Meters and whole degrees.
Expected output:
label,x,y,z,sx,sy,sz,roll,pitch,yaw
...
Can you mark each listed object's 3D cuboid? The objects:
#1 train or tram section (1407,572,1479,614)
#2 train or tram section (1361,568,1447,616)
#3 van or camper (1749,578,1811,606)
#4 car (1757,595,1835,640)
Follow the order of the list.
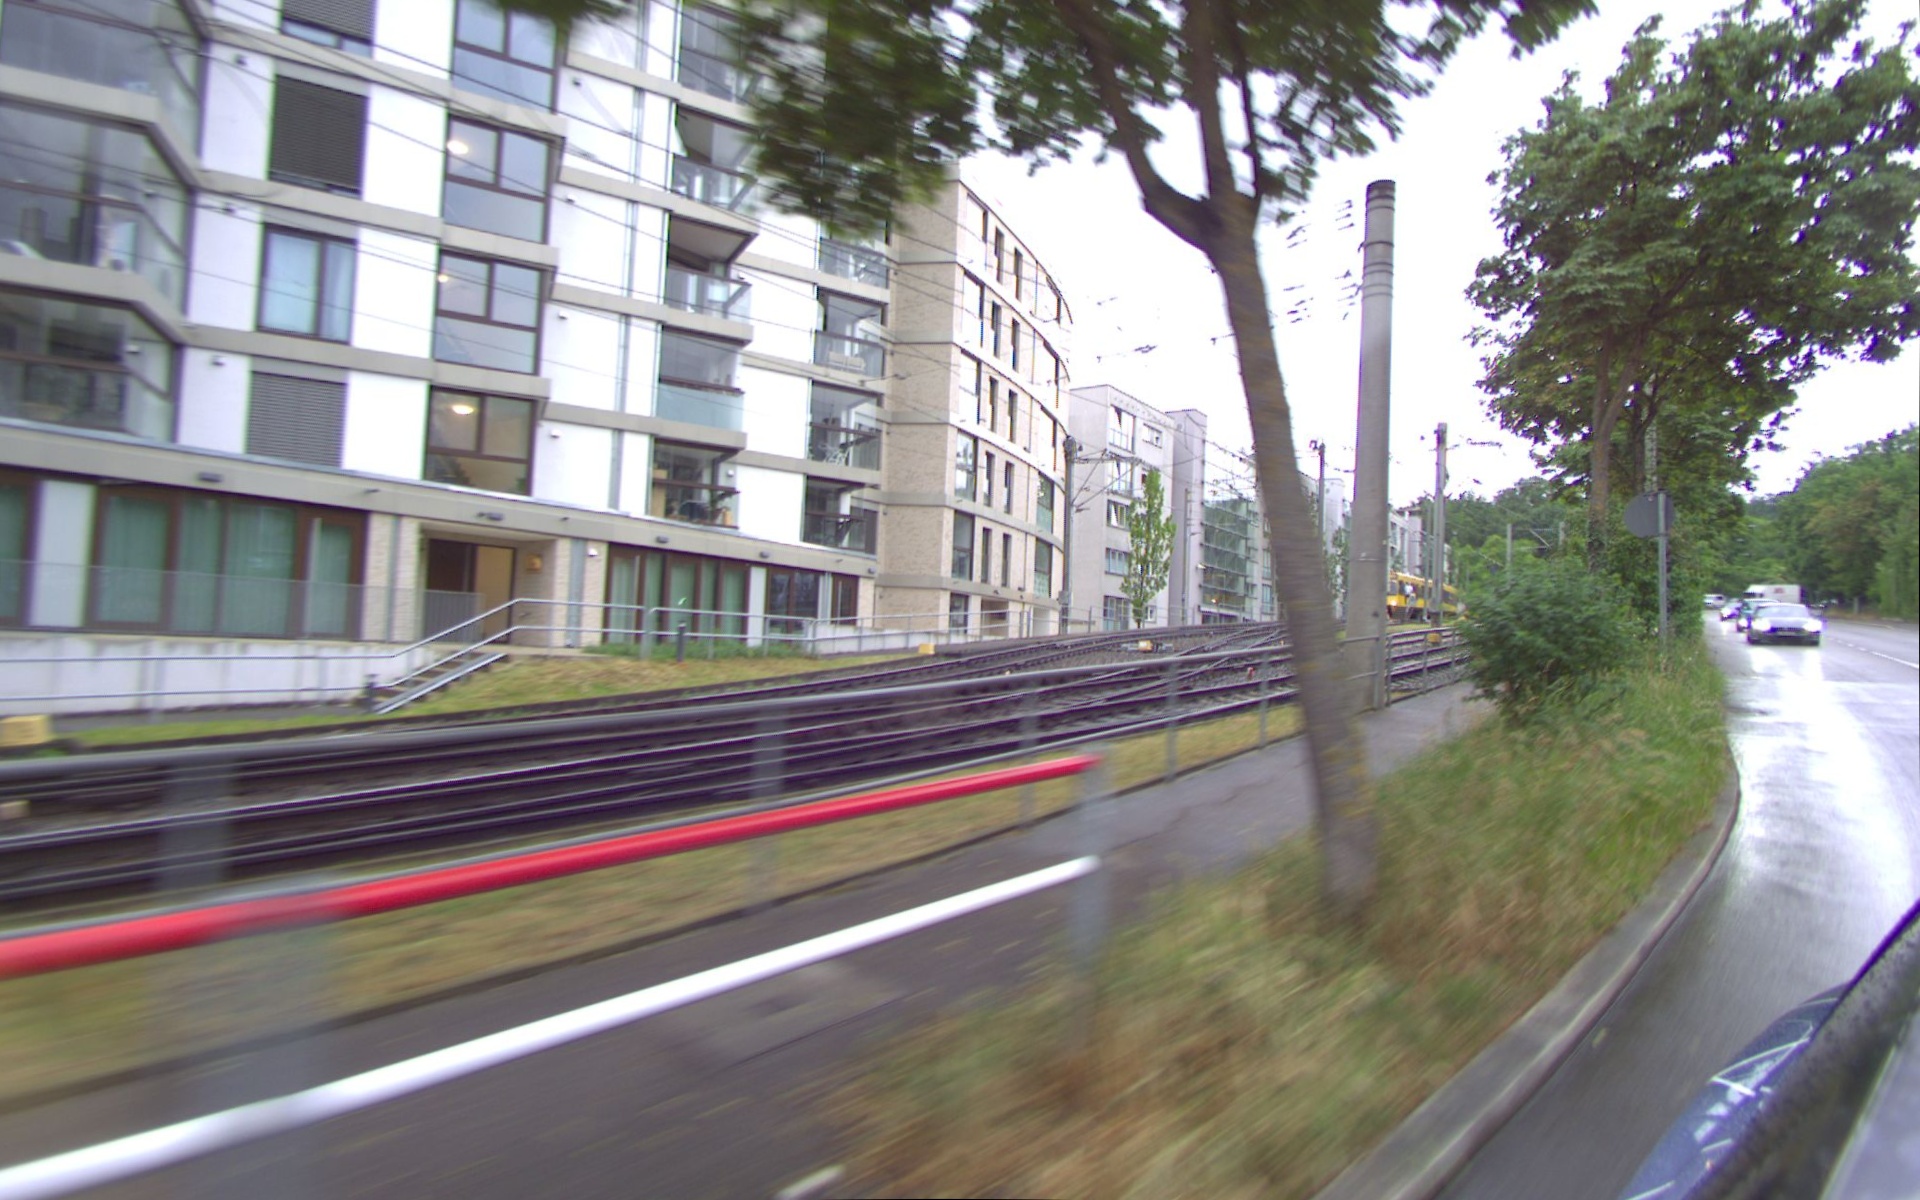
label,x,y,z,sx,sy,sz,roll,pitch,yaw
train or tram section,44.616,-0.608,93.107,3.099,3.543,14.657,0,0,37
train or tram section,36.009,-0.601,81.618,3.189,3.606,14.307,0,0,37
van or camper,116.439,-1.097,143.669,7.972,3.987,2.896,0,0,-17
car,29.691,0.677,36.056,1.851,1.497,3.946,-3,-4,37
